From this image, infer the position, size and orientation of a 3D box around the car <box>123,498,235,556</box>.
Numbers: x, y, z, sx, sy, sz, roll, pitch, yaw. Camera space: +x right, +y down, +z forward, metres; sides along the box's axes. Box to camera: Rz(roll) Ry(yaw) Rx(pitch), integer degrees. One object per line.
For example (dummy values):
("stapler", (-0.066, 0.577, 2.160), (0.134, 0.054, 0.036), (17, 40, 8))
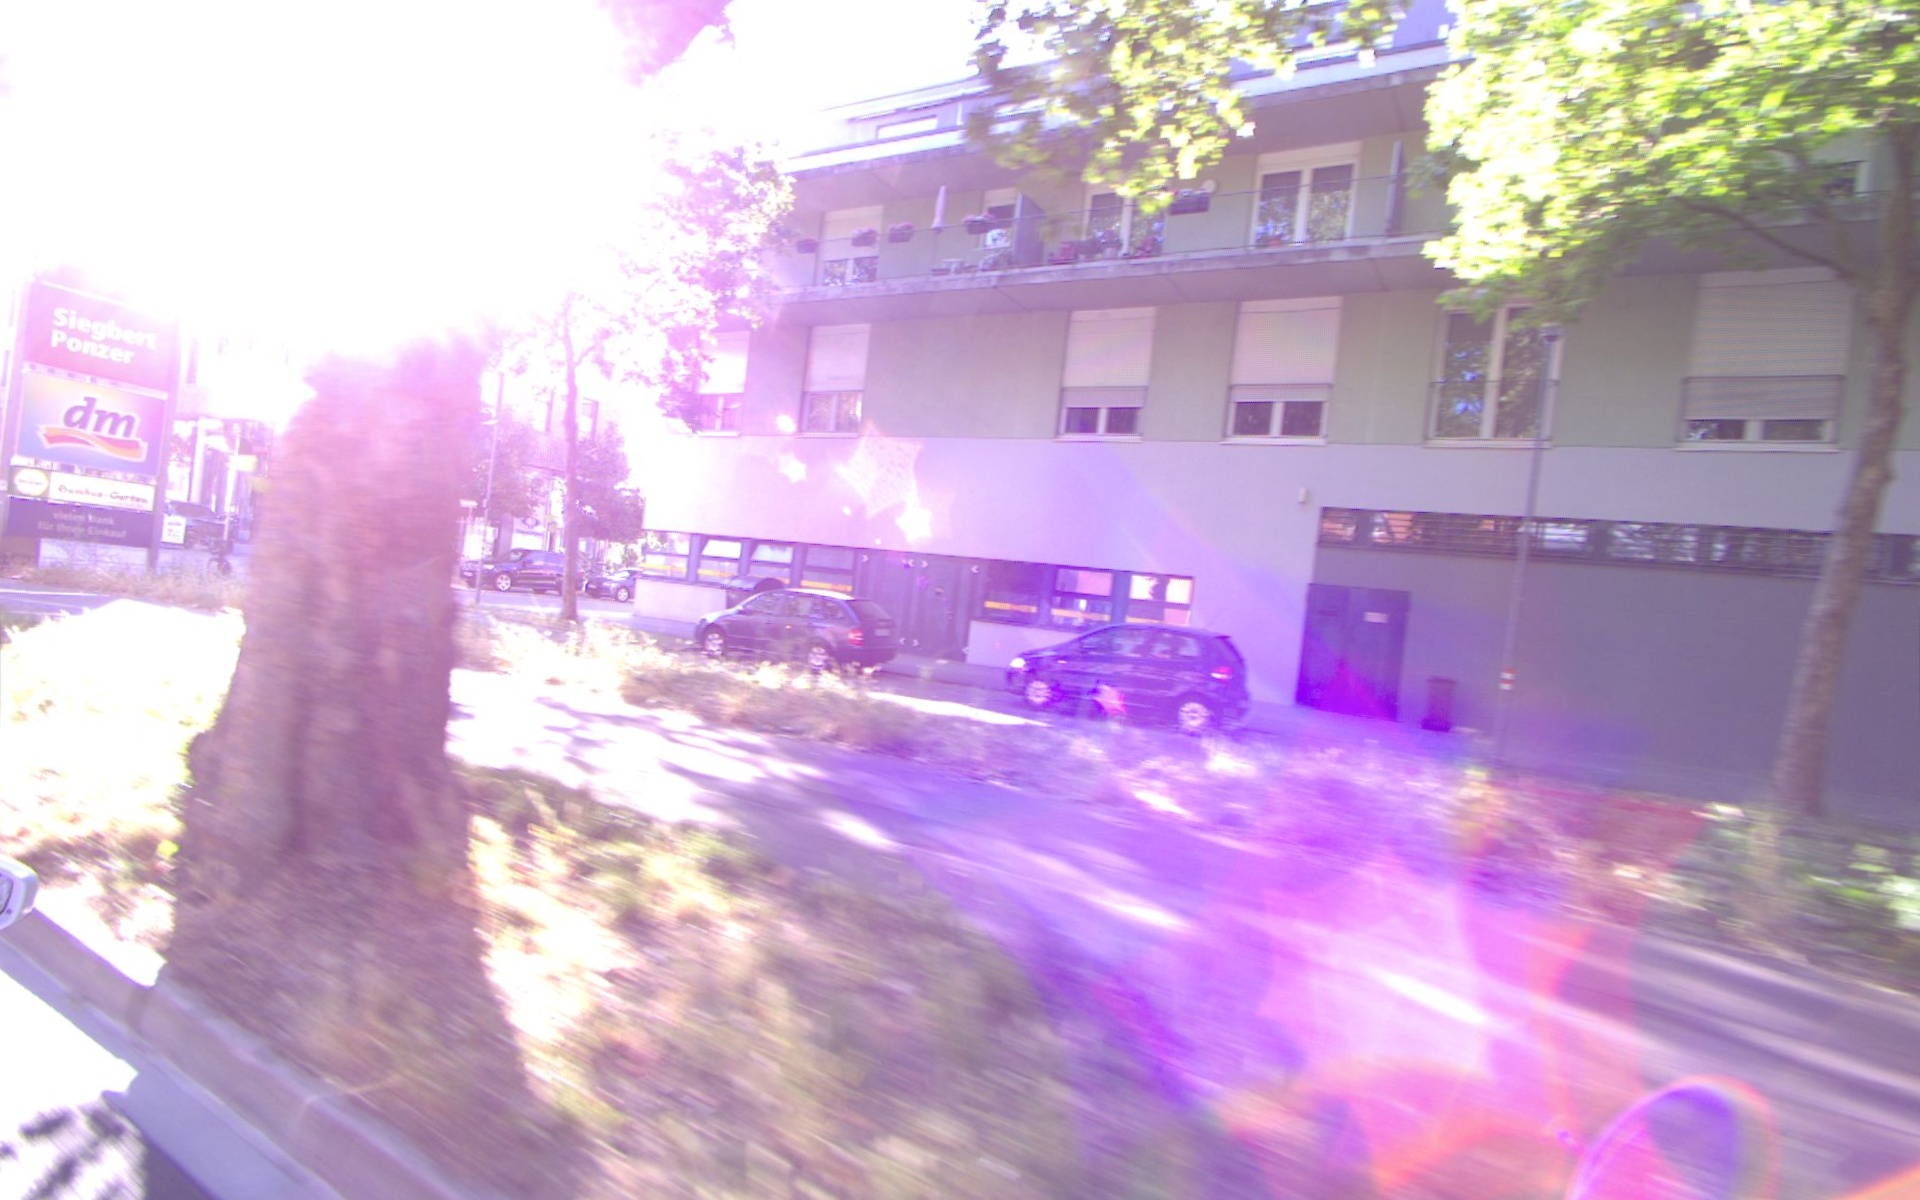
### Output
("car", (-30.159, -2.834, 38.829), (4.111, 1.755, 1.988), (7, 0, 31))

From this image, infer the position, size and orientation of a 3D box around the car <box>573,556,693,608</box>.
("car", (-13.671, -0.706, 42.308), (1.996, 1.683, 4.488), (7, 1, 30))

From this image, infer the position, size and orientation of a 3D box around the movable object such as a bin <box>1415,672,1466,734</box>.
("movable object such as a bin", (8.368, 1.780, 17.516), (0.652, 0.955, 0.629), (7, 1, 32))

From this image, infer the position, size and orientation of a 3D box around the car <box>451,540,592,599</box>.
("car", (-16.351, -1.112, 37.733), (1.995, 1.683, 4.490), (7, 1, 28))

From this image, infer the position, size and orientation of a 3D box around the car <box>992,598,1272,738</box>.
("car", (2.626, 0.988, 15.515), (3.697, 1.572, 1.861), (7, 0, 31))

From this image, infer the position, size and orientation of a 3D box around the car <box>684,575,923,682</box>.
("car", (-2.971, 0.525, 18.967), (4.053, 1.487, 1.862), (7, 0, 29))

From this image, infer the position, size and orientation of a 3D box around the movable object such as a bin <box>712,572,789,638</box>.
("movable object such as a bin", (-5.339, 0.133, 25.621), (1.388, 1.481, 1.191), (7, 0, 43))

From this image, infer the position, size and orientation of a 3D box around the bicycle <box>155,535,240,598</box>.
("bicycle", (-14.268, -0.630, 18.832), (1.458, 1.016, 0.384), (6, 1, 15))

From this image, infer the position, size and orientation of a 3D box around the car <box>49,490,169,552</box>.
("car", (-30.743, -2.850, 36.330), (4.108, 1.755, 1.879), (7, 0, 28))
